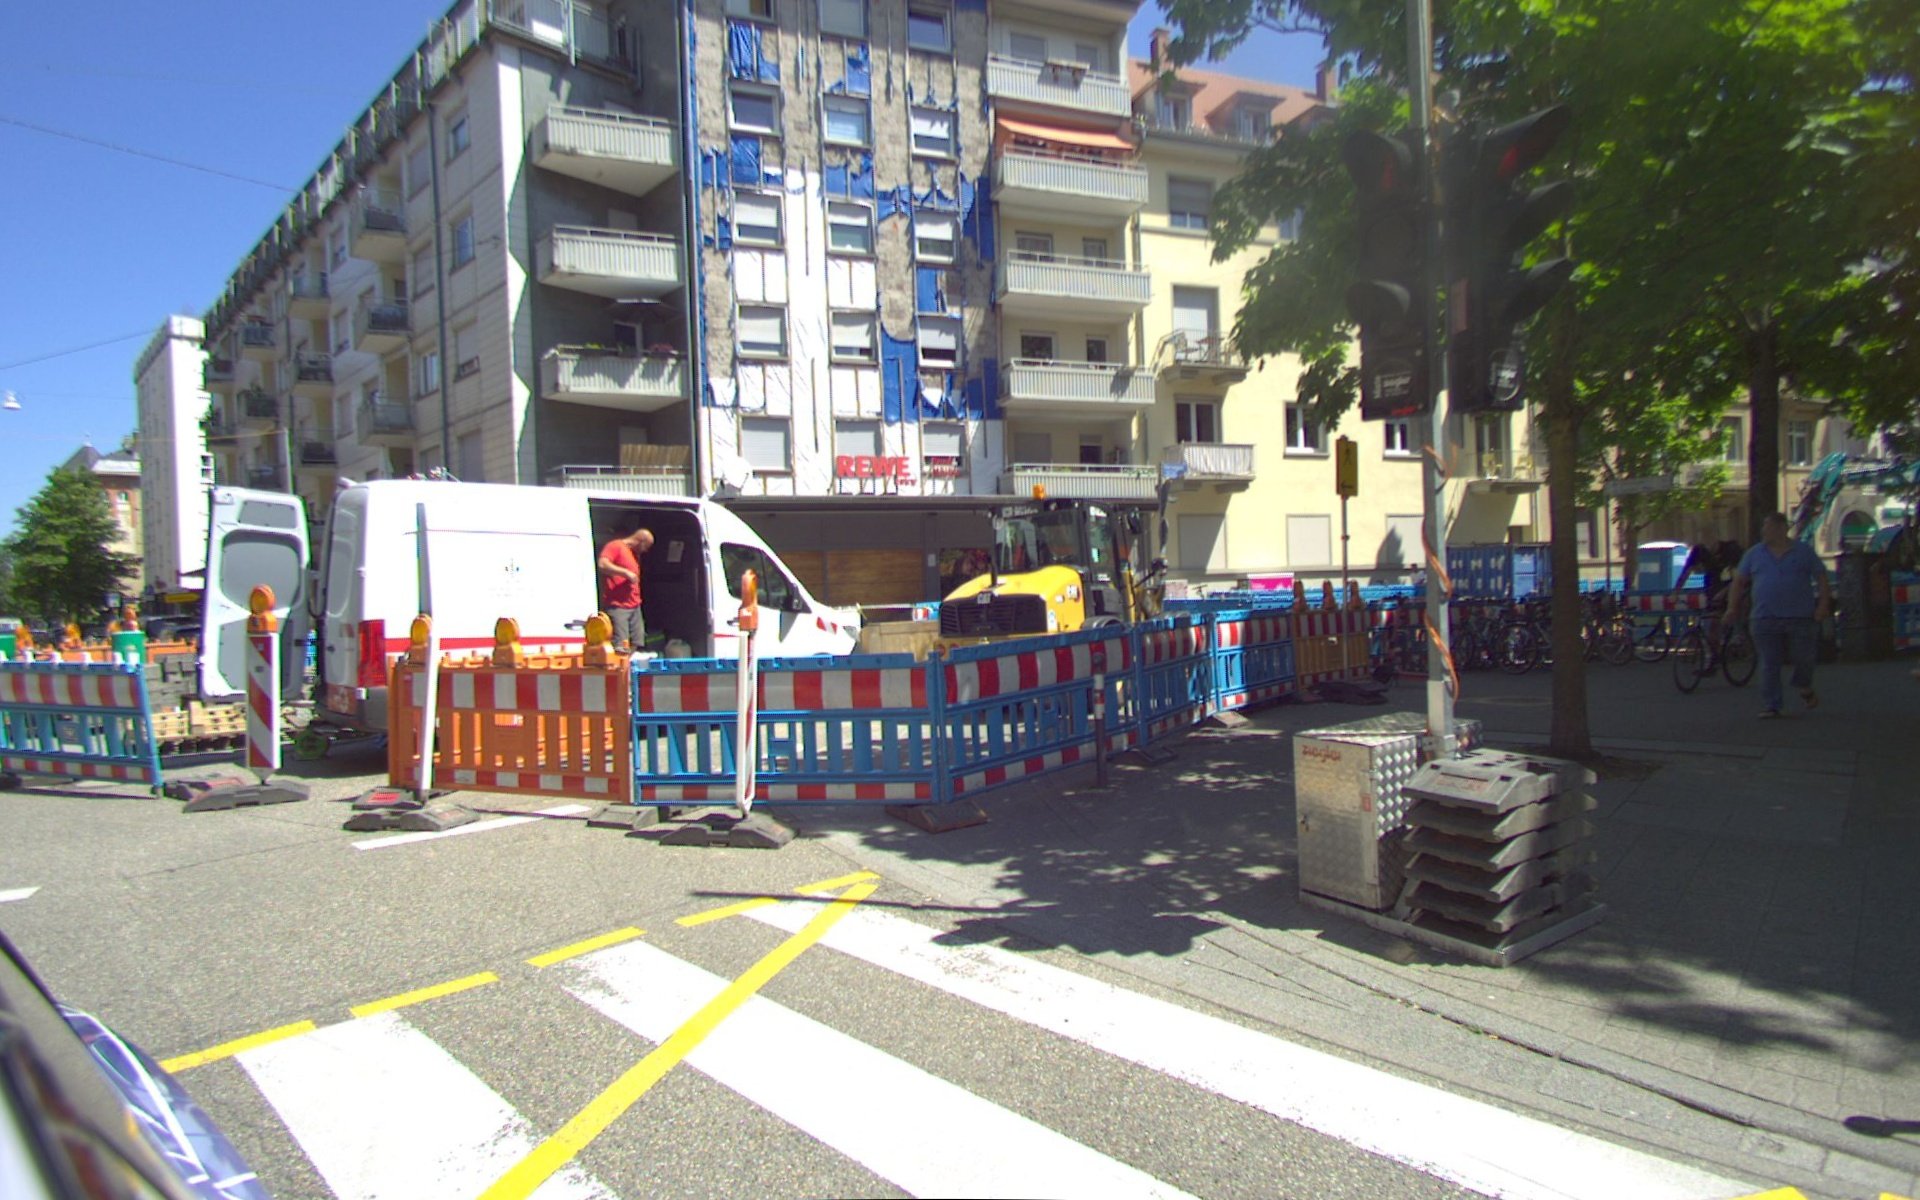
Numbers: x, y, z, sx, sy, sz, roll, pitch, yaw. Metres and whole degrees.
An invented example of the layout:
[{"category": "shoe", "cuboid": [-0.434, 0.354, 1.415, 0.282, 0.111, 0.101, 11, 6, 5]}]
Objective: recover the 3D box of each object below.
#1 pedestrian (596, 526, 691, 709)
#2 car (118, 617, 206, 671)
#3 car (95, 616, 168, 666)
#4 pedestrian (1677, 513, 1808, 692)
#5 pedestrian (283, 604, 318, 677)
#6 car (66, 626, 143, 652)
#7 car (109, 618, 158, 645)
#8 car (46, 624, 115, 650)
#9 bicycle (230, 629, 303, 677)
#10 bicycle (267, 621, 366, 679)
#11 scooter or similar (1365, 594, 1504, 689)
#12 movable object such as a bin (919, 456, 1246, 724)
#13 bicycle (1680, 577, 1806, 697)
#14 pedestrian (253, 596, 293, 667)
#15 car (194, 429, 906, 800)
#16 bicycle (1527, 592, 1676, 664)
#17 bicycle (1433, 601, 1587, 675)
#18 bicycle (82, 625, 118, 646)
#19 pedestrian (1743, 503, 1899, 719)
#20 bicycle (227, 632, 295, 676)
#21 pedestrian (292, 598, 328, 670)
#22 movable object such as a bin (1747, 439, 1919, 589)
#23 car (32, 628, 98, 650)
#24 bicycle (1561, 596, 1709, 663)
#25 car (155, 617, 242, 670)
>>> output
[{"category": "pedestrian", "cuboid": [-3.195, 0.165, 10.211, 0.769, 1.767, 0.518, -2, 2, 45]}, {"category": "car", "cuboid": [-29.920, 1.634, 37.894, 4.698, 1.825, 1.770, -2, 1, 42]}, {"category": "car", "cuboid": [-34.409, 1.682, 41.977, 4.902, 1.842, 1.769, -2, 1, 45]}, {"category": "pedestrian", "cuboid": [8.407, 0.005, 10.874, 0.992, 1.803, 0.866, -4, 2, -39]}, {"category": "pedestrian", "cuboid": [-15.380, 0.936, 23.608, 0.511, 1.645, 0.535, -2, 0, 42]}, {"category": "car", "cuboid": [-58.049, 2.657, 68.697, 1.652, 1.540, 3.832, -2, 0, 44]}, {"category": "car", "cuboid": [-47.572, 1.794, 58.226, 1.789, 1.436, 3.894, -2, 0, -45]}, {"category": "car", "cuboid": [-67.173, 2.845, 77.345, 1.652, 1.760, 3.832, -2, 0, 44]}, {"category": "bicycle", "cuboid": [-18.540, 1.397, 27.079, 0.335, 1.125, 1.504, -2, 2, 40]}, {"category": "bicycle", "cuboid": [-14.404, 1.099, 22.700, 1.779, 1.127, 0.469, -4, 1, -24]}, {"category": "scooter or similar", "cuboid": [5.958, 0.507, 12.757, 0.518, 1.114, 1.473, -3, 1, -44]}, {"category": "movable object such as a bin", "cuboid": [1.715, -0.095, 12.512, 1.951, 2.679, 4.503, -4, -1, 36]}, {"category": "bicycle", "cuboid": [8.570, 0.358, 11.040, 2.252, 1.095, 0.603, -4, 2, -40]}, {"category": "pedestrian", "cuboid": [-17.247, 0.774, 25.414, 0.632, 1.739, 0.649, -2, 0, 42]}, {"category": "car", "cuboid": [-3.833, 0.049, 10.716, 6.546, 2.772, 2.381, -2, 1, -45]}, {"category": "bicycle", "cuboid": [9.537, 0.427, 15.131, 0.483, 0.996, 1.817, -2, -1, -30]}, {"category": "bicycle", "cuboid": [7.825, 0.517, 14.492, 0.483, 0.971, 1.936, -2, 1, -30]}, {"category": "bicycle", "cuboid": [-51.089, 2.101, 60.119, 1.585, 1.098, 0.371, -5, 2, -40]}, {"category": "pedestrian", "cuboid": [7.286, 0.084, 8.592, 0.930, 1.717, 0.630, -2, 2, 41]}, {"category": "bicycle", "cuboid": [-18.993, 1.457, 27.518, 0.335, 1.043, 1.433, -2, 2, 40]}, {"category": "pedestrian", "cuboid": [-14.728, 0.768, 22.944, 0.489, 1.577, 0.461, -4, 1, -19]}, {"category": "movable object such as a bin", "cuboid": [23.393, -2.053, 24.455, 6.636, 3.236, 3.325, -3, 1, -13]}, {"category": "car", "cuboid": [-71.452, 3.094, 80.835, 1.652, 1.507, 3.832, -2, 0, 44]}, {"category": "bicycle", "cuboid": [10.227, 0.435, 15.408, 0.483, 0.942, 1.817, -2, 1, -30]}, {"category": "car", "cuboid": [-25.236, 1.405, 33.474, 1.651, 1.536, 4.466, -4, 1, -45]}]
